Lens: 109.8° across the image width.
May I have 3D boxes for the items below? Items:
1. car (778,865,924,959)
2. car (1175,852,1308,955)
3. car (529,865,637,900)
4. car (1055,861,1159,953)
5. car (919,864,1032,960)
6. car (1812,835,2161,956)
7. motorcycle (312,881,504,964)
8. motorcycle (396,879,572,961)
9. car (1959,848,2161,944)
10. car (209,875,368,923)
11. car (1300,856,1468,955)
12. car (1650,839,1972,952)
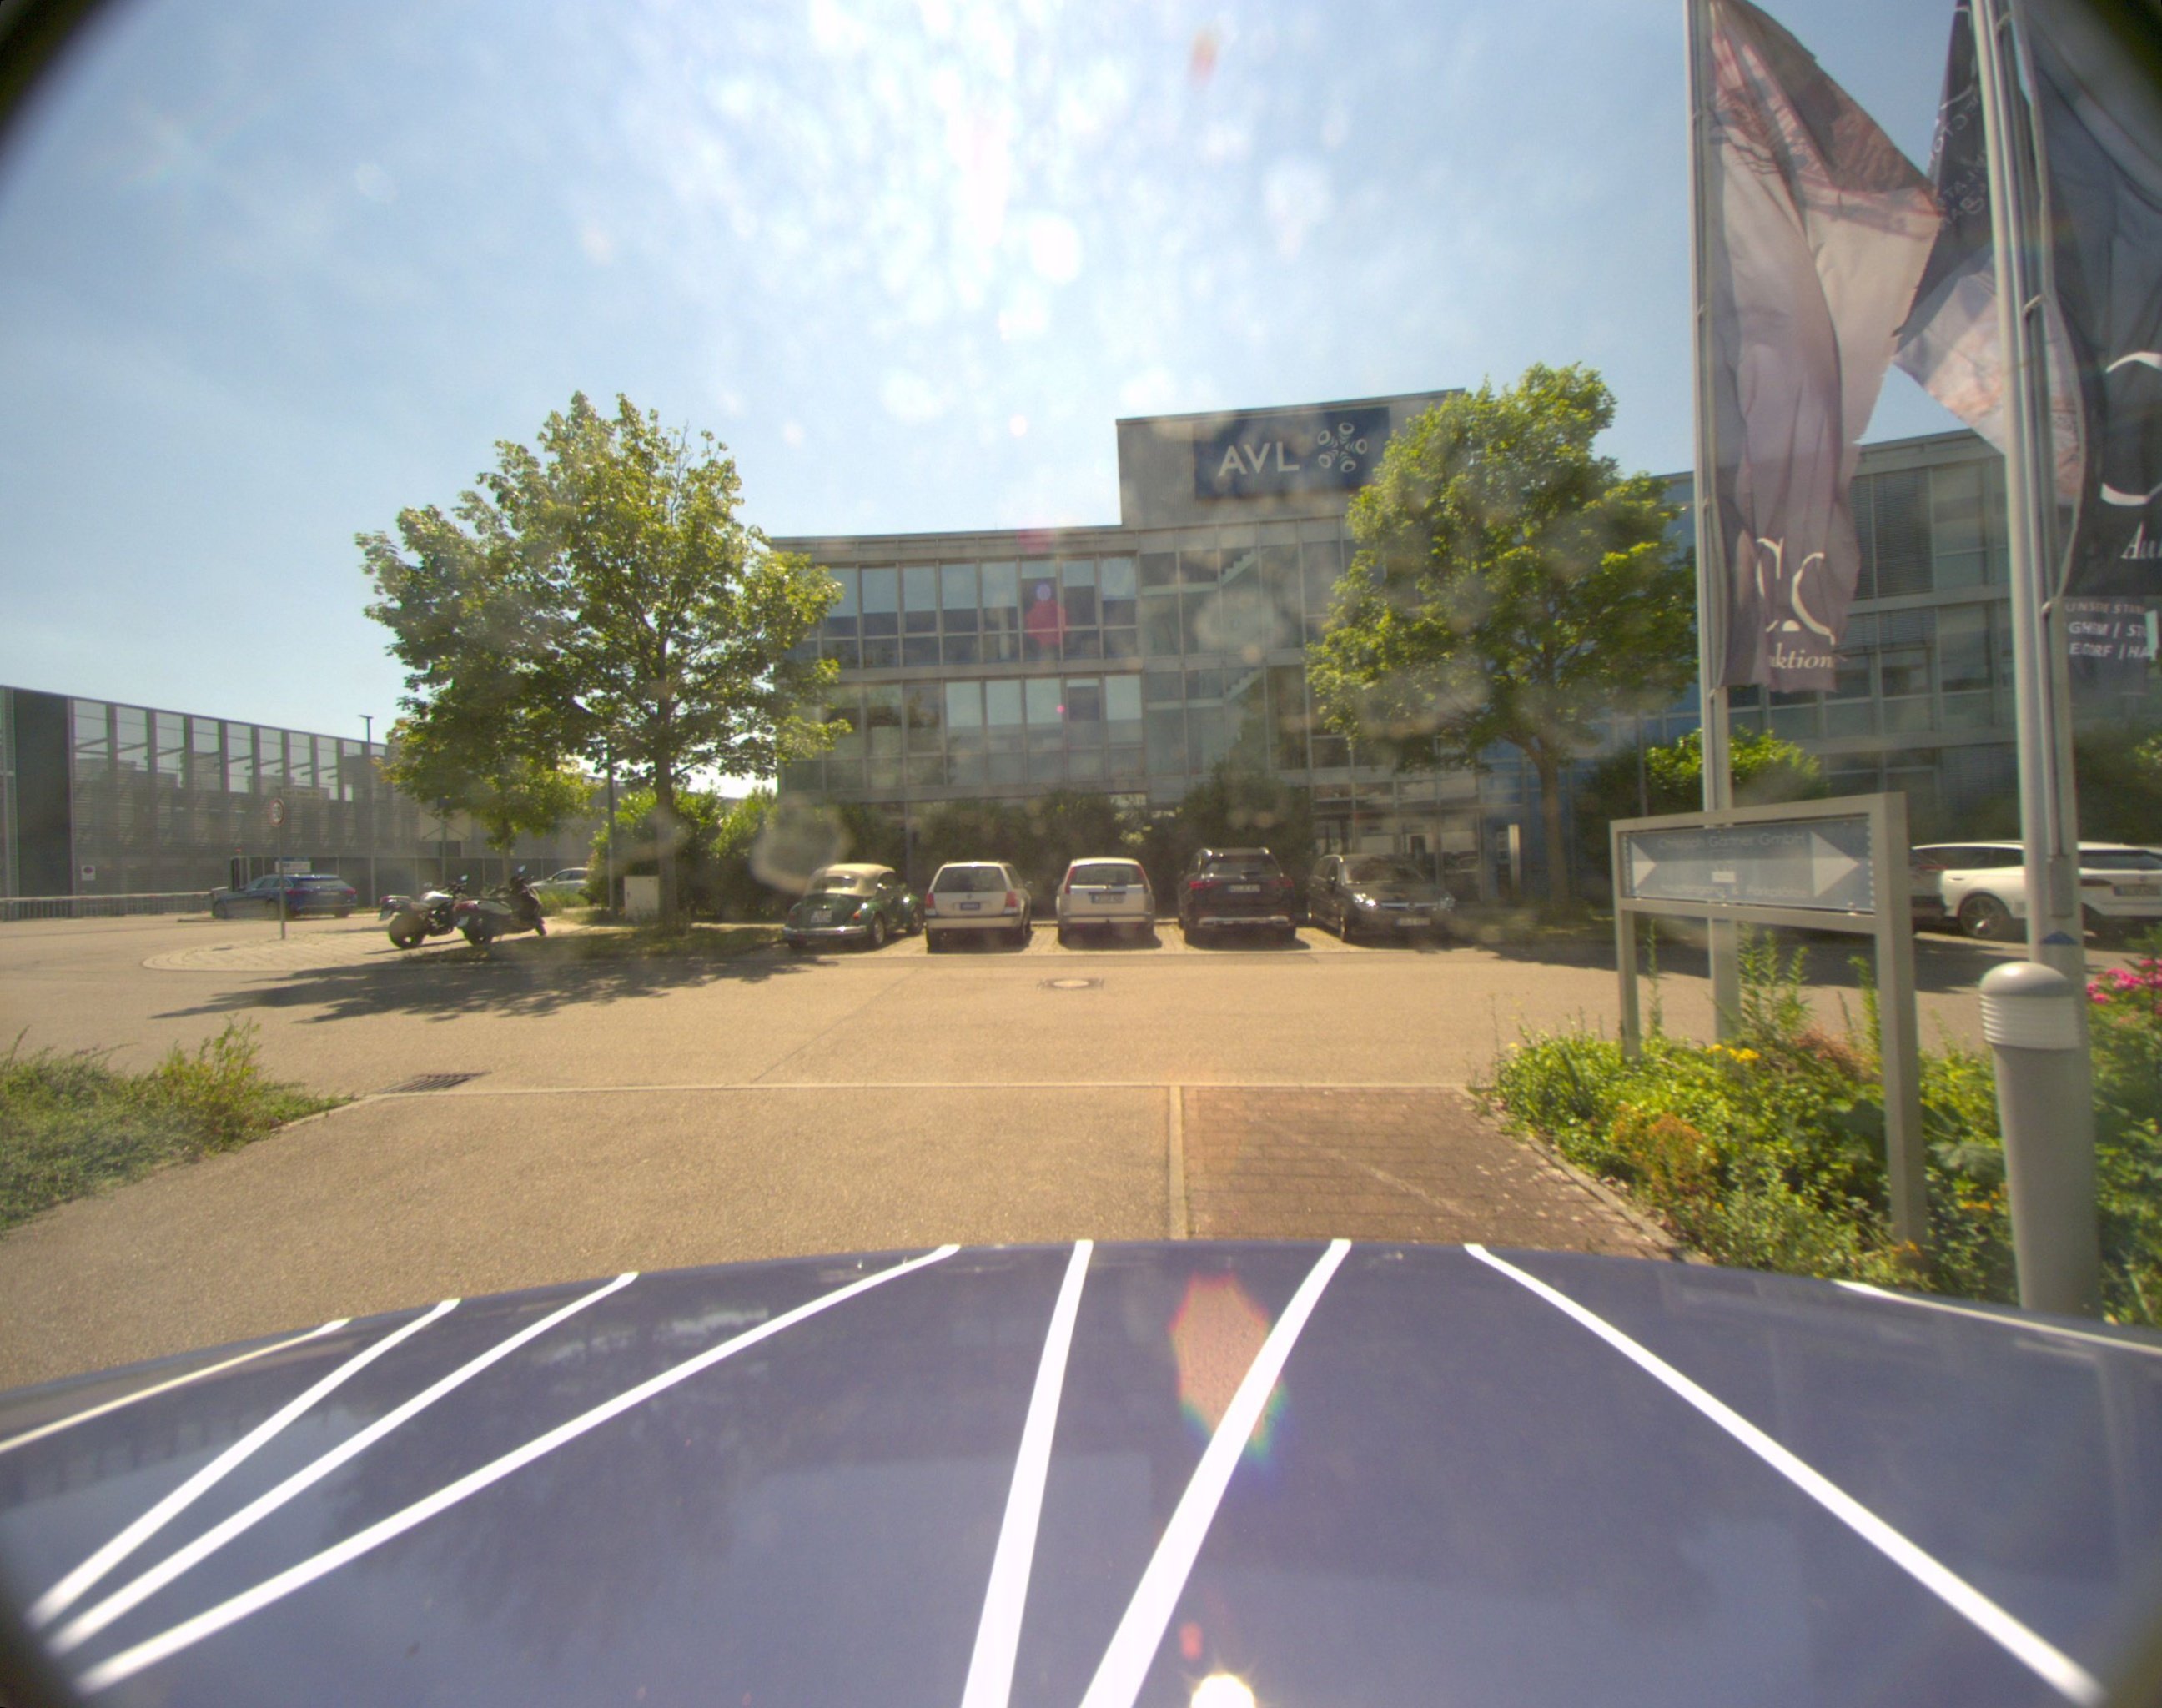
[{"bbox_3d":[-4.119,0.983,14.131,1.521,1.437,3.419,-1,1,3],"label":"car"},{"bbox_3d":[2.808,0.793,14.118,1.938,1.593,3.860,-1,1,4],"label":"car"},{"bbox_3d":[-22.288,1.270,34.001,4.404,1.467,1.783,-1,0,22],"label":"car"},{"bbox_3d":[0.410,0.910,14.508,1.731,1.444,3.599,-1,1,-1],"label":"car"},{"bbox_3d":[-1.825,0.963,14.094,1.642,1.444,3.599,0,1,-1],"label":"car"},{"bbox_3d":[14.668,0.556,12.396,1.831,1.628,4.174,-1,0,8],"label":"car"},{"bbox_3d":[-12.406,1.207,14.203,0.873,1.252,2.836,-1,1,4],"label":"motorcycle"},{"bbox_3d":[-11.063,1.167,14.287,0.873,1.252,2.836,-1,1,4],"label":"motorcycle"},{"bbox_3d":[17.047,0.624,12.052,1.750,1.392,4.174,-1,0,8],"label":"car"},{"bbox_3d":[-25.774,1.442,24.729,4.437,1.401,1.862,-2,0,19],"label":"car"},{"bbox_3d":[5.337,0.820,14.015,1.729,1.475,4.399,-2,0,6],"label":"car"},{"bbox_3d":[12.171,0.604,13.151,1.831,1.628,4.173,-1,0,6],"label":"car"}]
